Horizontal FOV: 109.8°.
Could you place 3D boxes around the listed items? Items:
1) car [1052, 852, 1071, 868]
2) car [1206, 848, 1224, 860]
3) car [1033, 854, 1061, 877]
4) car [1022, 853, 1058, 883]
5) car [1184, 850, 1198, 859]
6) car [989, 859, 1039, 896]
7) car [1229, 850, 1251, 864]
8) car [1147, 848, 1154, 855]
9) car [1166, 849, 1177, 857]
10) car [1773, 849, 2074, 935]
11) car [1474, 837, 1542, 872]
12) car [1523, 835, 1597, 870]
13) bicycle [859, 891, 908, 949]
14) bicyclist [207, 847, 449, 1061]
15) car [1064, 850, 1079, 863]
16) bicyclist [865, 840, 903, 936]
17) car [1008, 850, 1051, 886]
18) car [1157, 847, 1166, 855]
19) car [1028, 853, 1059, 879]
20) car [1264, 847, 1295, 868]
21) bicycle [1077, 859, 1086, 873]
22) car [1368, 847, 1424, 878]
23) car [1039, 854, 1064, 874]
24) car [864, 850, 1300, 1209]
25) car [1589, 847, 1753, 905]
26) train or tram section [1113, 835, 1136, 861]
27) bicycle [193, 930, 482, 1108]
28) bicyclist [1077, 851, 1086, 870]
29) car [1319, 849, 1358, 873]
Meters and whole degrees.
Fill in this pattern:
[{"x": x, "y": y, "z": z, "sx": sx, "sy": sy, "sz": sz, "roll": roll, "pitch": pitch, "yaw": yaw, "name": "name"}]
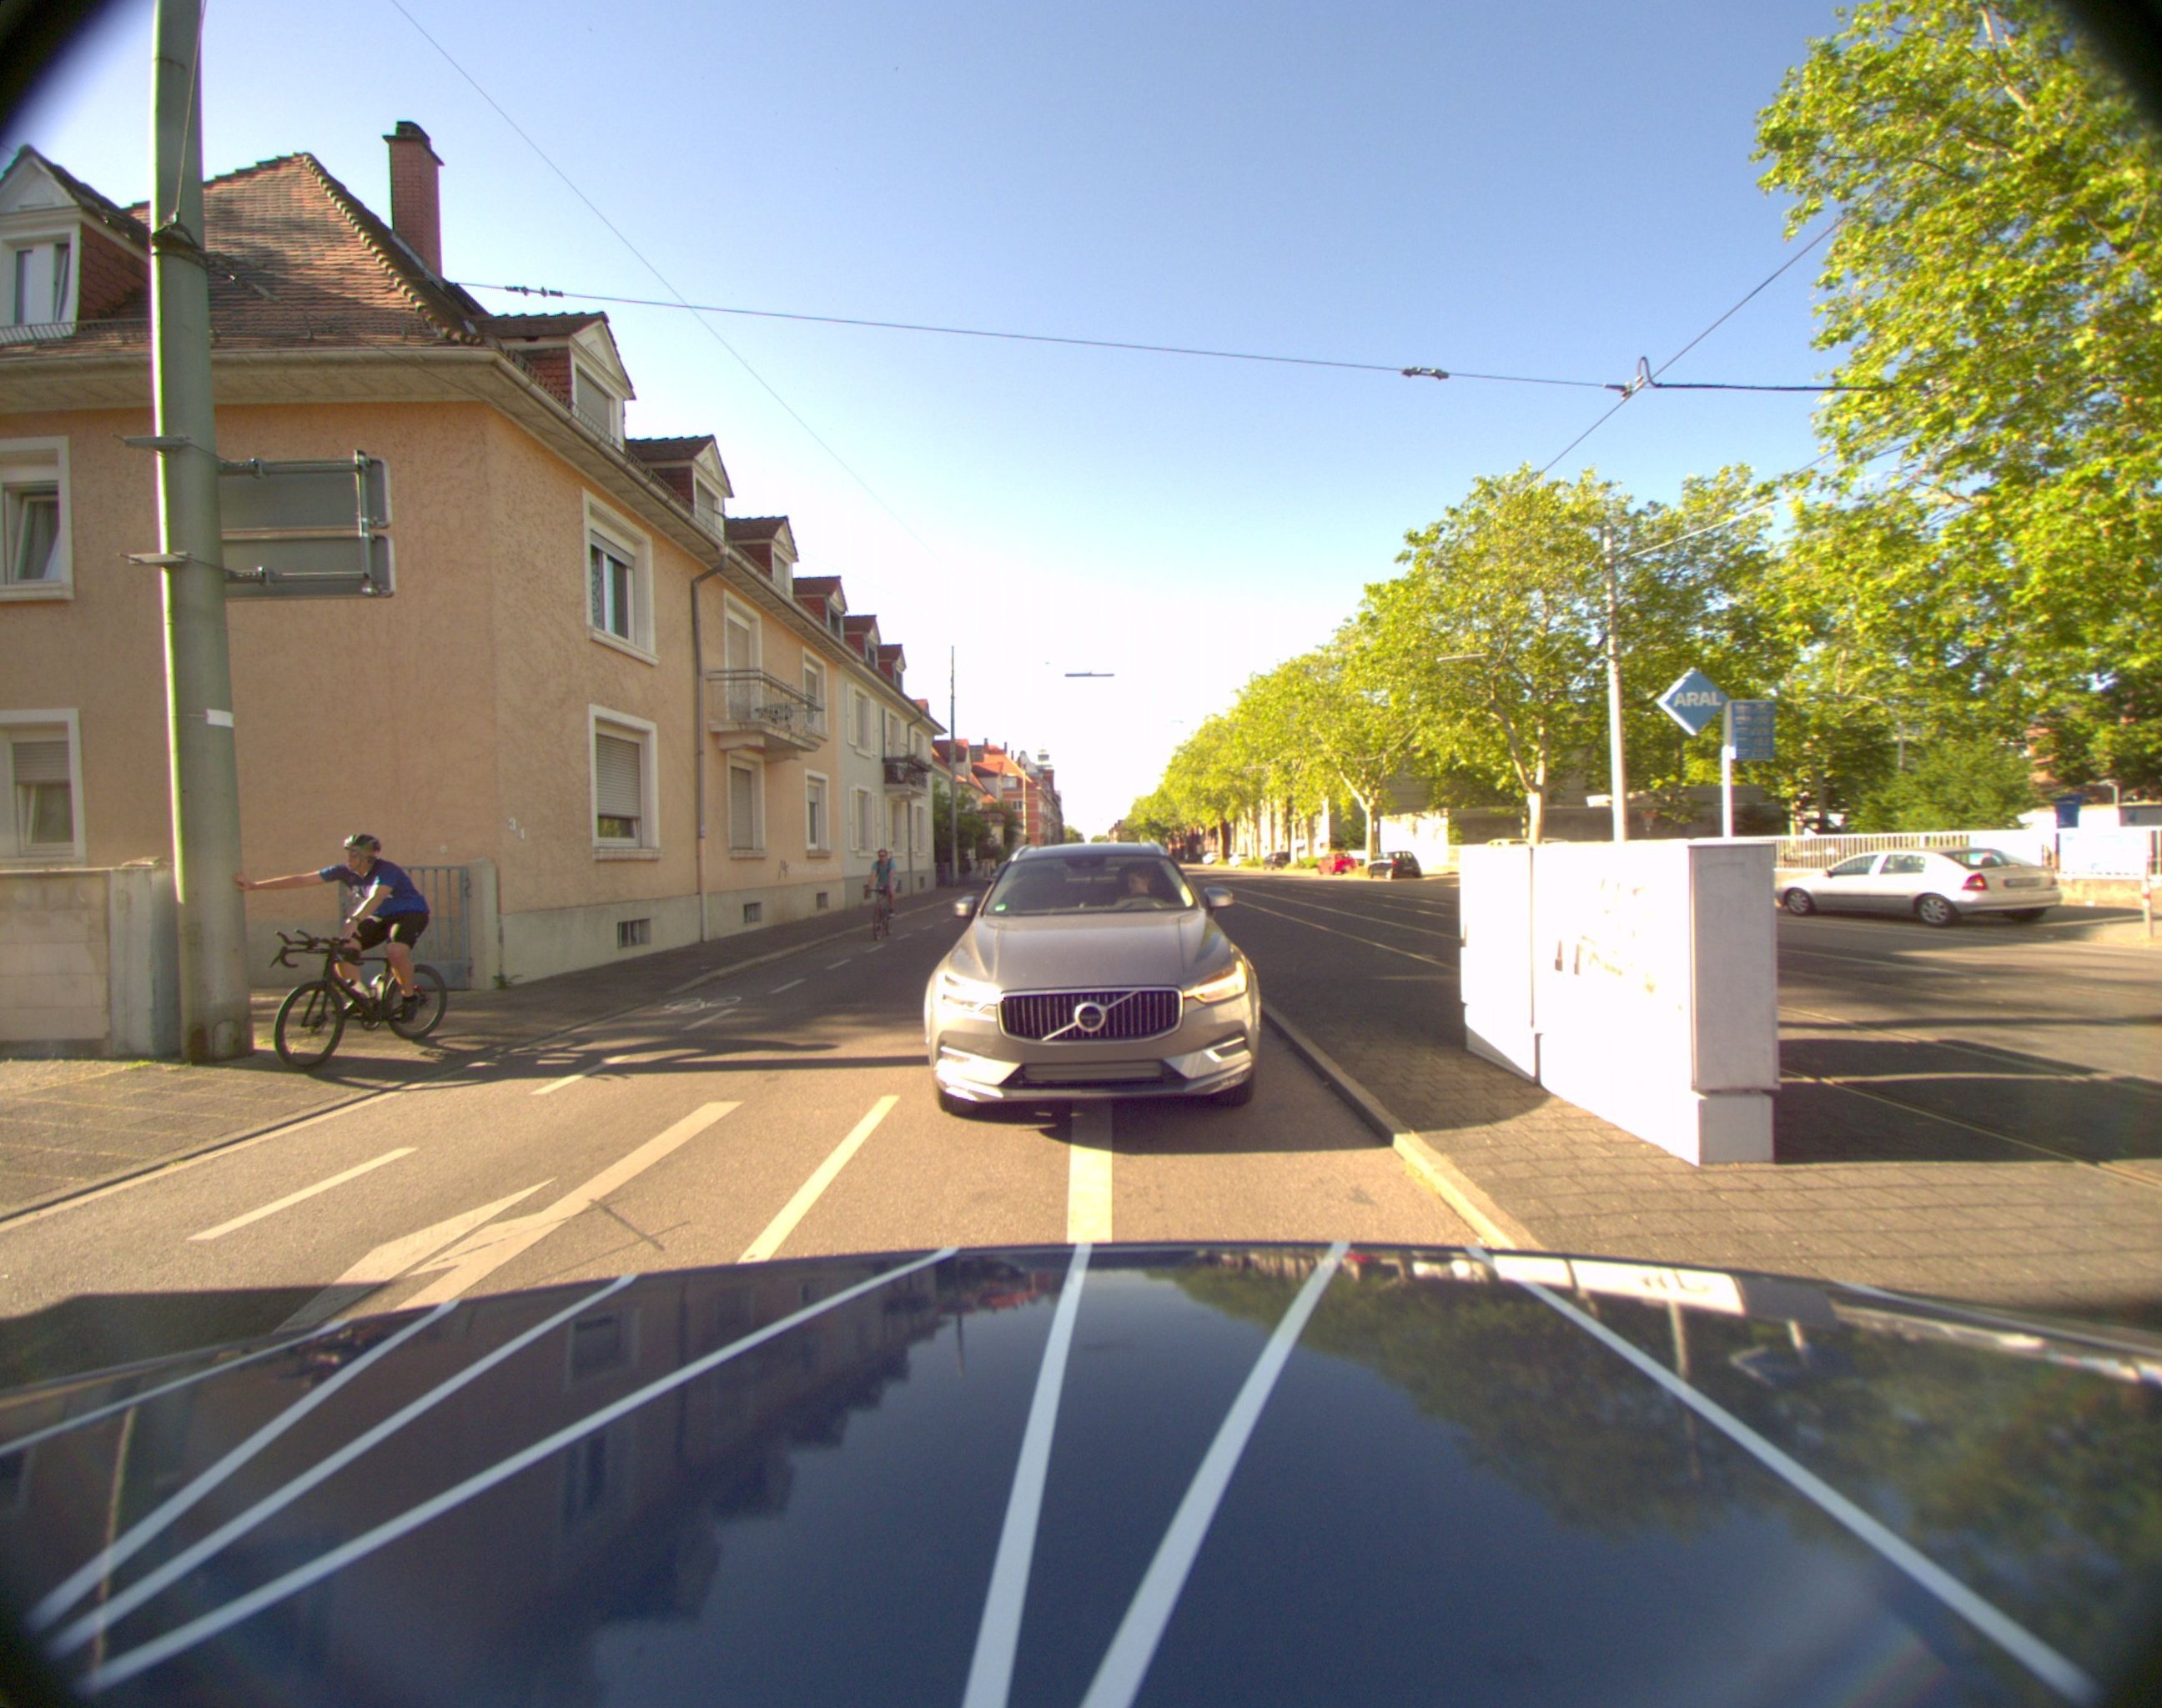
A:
[{"x": -2.149, "y": 0.637, "z": 85.368, "sx": 1.793, "sy": 1.673, "sz": 3.814, "roll": -3, "pitch": 0, "yaw": 2, "name": "car"}, {"x": 17.795, "y": 0.029, "z": 100.713, "sx": 1.695, "sy": 1.440, "sz": 3.749, "roll": -3, "pitch": 0, "yaw": 1, "name": "car"}, {"x": -2.717, "y": 0.887, "z": 61.028, "sx": 1.793, "sy": 1.673, "sz": 3.814, "roll": -3, "pitch": 0, "yaw": 2, "name": "car"}, {"x": -2.582, "y": 0.855, "z": 48.483, "sx": 1.793, "sy": 1.673, "sz": 3.814, "roll": -3, "pitch": 0, "yaw": 2, "name": "car"}, {"x": 18.200, "y": 0.074, "z": 125.522, "sx": 1.695, "sy": 1.440, "sz": 3.749, "roll": -3, "pitch": 0, "yaw": 1, "name": "car"}, {"x": -3.219, "y": 1.085, "z": 37.045, "sx": 1.695, "sy": 1.571, "sz": 3.815, "roll": -3, "pitch": 0, "yaw": 5, "name": "car"}, {"x": 17.465, "y": 0.295, "z": 83.542, "sx": 1.695, "sy": 1.440, "sz": 3.749, "roll": -3, "pitch": 0, "yaw": 1, "name": "car"}, {"x": 19.655, "y": -0.619, "z": 214.807, "sx": 1.695, "sy": 1.775, "sz": 3.749, "roll": -3, "pitch": 0, "yaw": 1, "name": "car"}, {"x": 19.269, "y": -0.191, "z": 161.876, "sx": 1.695, "sy": 1.440, "sz": 3.749, "roll": -3, "pitch": 0, "yaw": 1, "name": "car"}, {"x": 16.230, "y": 0.642, "z": 14.981, "sx": 1.695, "sy": 1.395, "sz": 3.813, "roll": -3, "pitch": 0, "yaw": 1, "name": "car"}, {"x": 21.550, "y": 0.016, "z": 38.472, "sx": 1.599, "sy": 1.606, "sz": 3.304, "roll": -2, "pitch": 0, "yaw": 1, "name": "car"}, {"x": 23.883, "y": -0.079, "z": 38.025, "sx": 1.599, "sy": 1.583, "sz": 3.304, "roll": -2, "pitch": 0, "yaw": 1, "name": "car"}, {"x": -4.032, "y": 1.313, "z": 15.608, "sx": 0.519, "sy": 1.084, "sz": 1.796, "roll": -1, "pitch": -2, "yaw": 0, "name": "bicycle"}, {"x": -6.220, "y": 0.777, "z": 6.345, "sx": 1.051, "sy": 1.599, "sz": 0.885, "roll": 4, "pitch": 0, "yaw": 1, "name": "bicyclist"}, {"x": -1.292, "y": 0.367, "z": 107.101, "sx": 1.793, "sy": 1.673, "sz": 3.814, "roll": -3, "pitch": 0, "yaw": 2, "name": "car"}, {"x": -4.046, "y": 0.697, "z": 15.652, "sx": 0.519, "sy": 1.922, "sz": 0.946, "roll": -1, "pitch": -2, "yaw": 0, "name": "bicyclist"}, {"x": -2.821, "y": 0.743, "z": 42.818, "sx": 1.793, "sy": 1.828, "sz": 5.149, "roll": -3, "pitch": 0, "yaw": 2, "name": "car"}, {"x": 20.240, "y": -0.724, "z": 191.413, "sx": 1.695, "sy": 1.775, "sz": 3.749, "roll": -3, "pitch": 0, "yaw": 1, "name": "car"}, {"x": -2.629, "y": 0.837, "z": 54.003, "sx": 1.793, "sy": 1.673, "sz": 3.814, "roll": -3, "pitch": 0, "yaw": 2, "name": "car"}, {"x": 17.140, "y": 0.276, "z": 65.888, "sx": 1.695, "sy": 1.648, "sz": 3.749, "roll": -3, "pitch": 0, "yaw": 1, "name": "car"}, {"x": 0.065, "y": 1.021, "z": 65.349, "sx": 0.685, "sy": 1.098, "sz": 1.806, "roll": -2, "pitch": 1, "yaw": 1, "name": "bicycle"}, {"x": 16.888, "y": 0.429, "z": 40.895, "sx": 1.599, "sy": 1.498, "sz": 3.304, "roll": -3, "pitch": 0, "yaw": 1, "name": "car"}, {"x": -2.549, "y": 0.861, "z": 67.073, "sx": 1.793, "sy": 1.673, "sz": 3.814, "roll": -3, "pitch": 0, "yaw": 2, "name": "car"}, {"x": 0.035, "y": 0.828, "z": 5.752, "sx": 1.998, "sy": 1.628, "sz": 4.306, "roll": -2, "pitch": 0, "yaw": 1, "name": "car"}, {"x": 16.415, "y": 0.562, "z": 21.415, "sx": 1.695, "sy": 1.395, "sz": 3.749, "roll": -3, "pitch": 0, "yaw": 1, "name": "car"}, {"x": 6.452, "y": -0.827, "z": 114.285, "sx": 2.717, "sy": 3.643, "sz": 12.653, "roll": -1, "pitch": 0, "yaw": 0, "name": "train or tram section"}, {"x": -6.016, "y": 1.266, "z": 6.317, "sx": 0.592, "sy": 1.062, "sz": 1.775, "roll": 4, "pitch": 0, "yaw": 1, "name": "bicycle"}, {"x": 0.045, "y": 0.586, "z": 65.350, "sx": 0.685, "sy": 1.611, "sz": 0.855, "roll": -2, "pitch": 1, "yaw": 1, "name": "bicyclist"}, {"x": 16.881, "y": 0.437, "z": 49.866, "sx": 1.599, "sy": 1.498, "sz": 2.622, "roll": -3, "pitch": 0, "yaw": 1, "name": "car"}]
